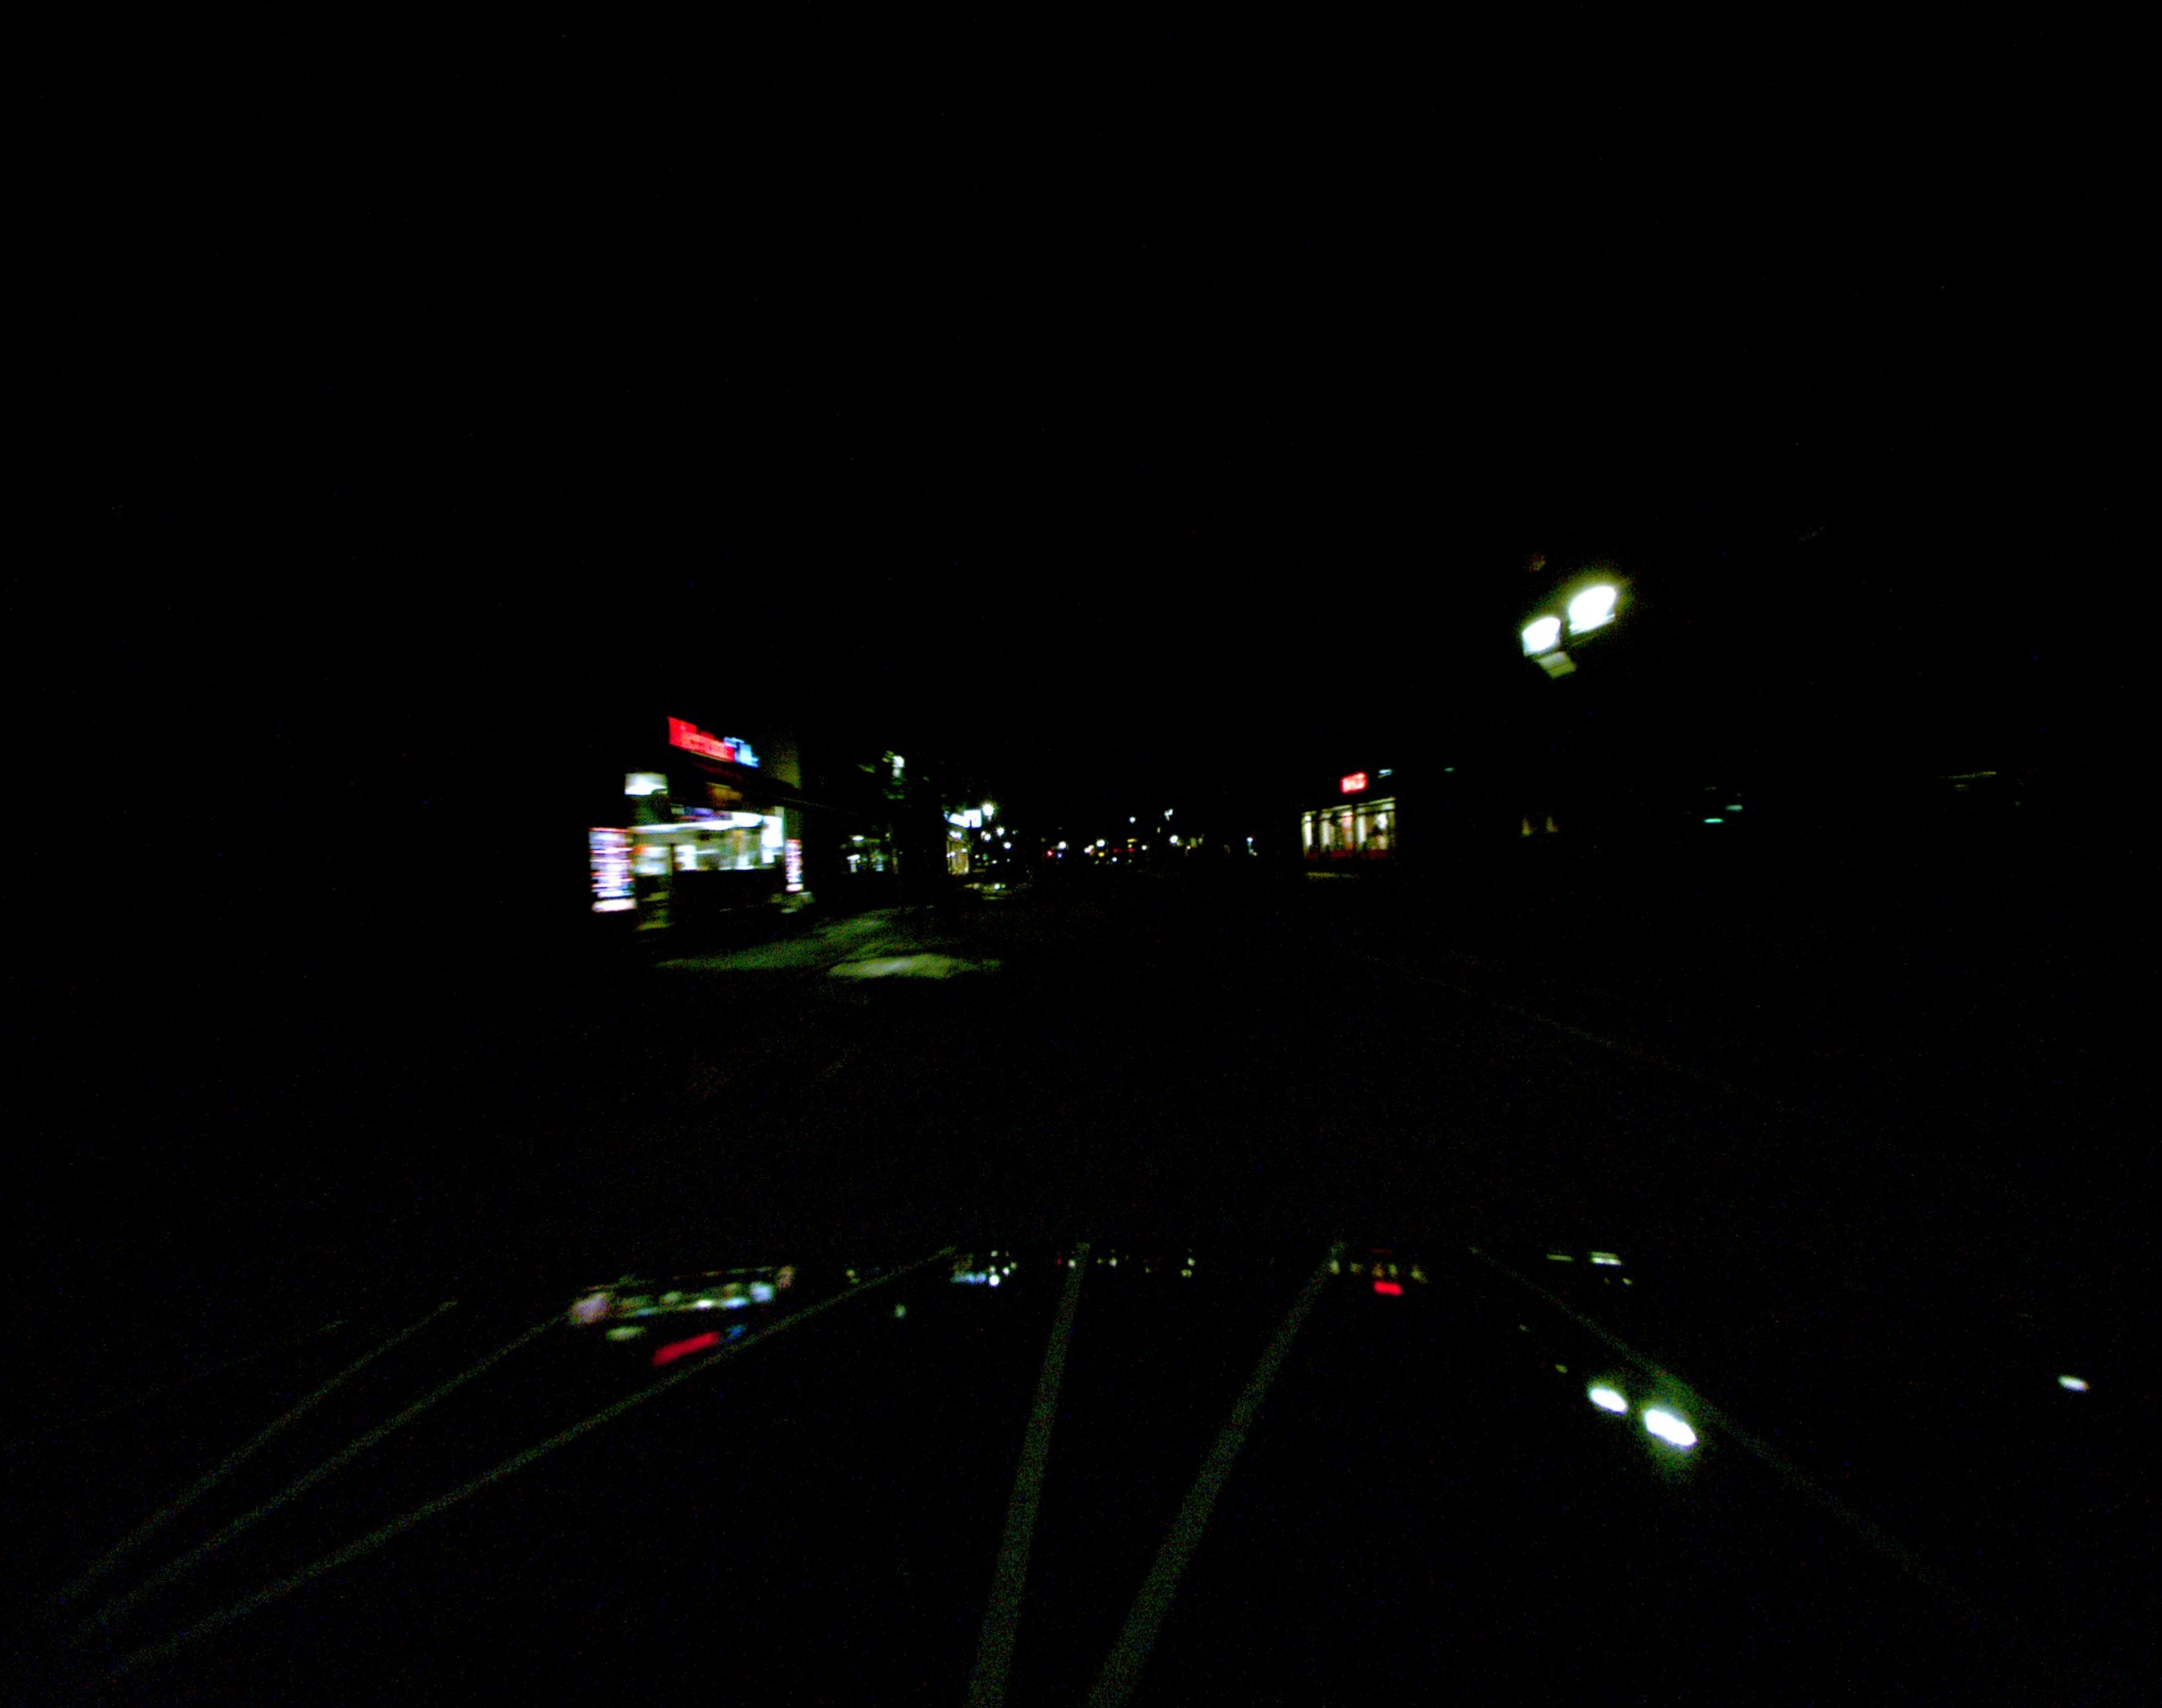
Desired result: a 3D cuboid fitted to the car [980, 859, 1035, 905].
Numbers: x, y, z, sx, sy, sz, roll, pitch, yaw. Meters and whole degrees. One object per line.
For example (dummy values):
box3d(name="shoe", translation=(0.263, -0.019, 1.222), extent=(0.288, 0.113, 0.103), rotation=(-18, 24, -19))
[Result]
box3d(name="car", translation=(-2.549, 0.933, 27.104), extent=(1.739, 1.432, 4.495), rotation=(-2, 0, -4))

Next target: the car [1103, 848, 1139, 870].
box3d(name="car", translation=(3.175, 0.385, 60.751), extent=(1.764, 1.628, 4.810), rotation=(-2, 0, -10))

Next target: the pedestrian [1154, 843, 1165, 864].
box3d(name="pedestrian", translation=(7.055, -0.054, 68.197), extent=(0.793, 1.807, 1.024), rotation=(-4, 1, 14))

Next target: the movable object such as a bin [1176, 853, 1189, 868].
box3d(name="movable object such as a bin", translation=(7.398, 0.450, 55.478), extent=(0.749, 1.059, 0.791), rotation=(-2, 2, -9))

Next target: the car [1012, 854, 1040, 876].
box3d(name="car", translation=(-4.118, 0.780, 56.463), extent=(1.747, 1.479, 4.632), rotation=(-2, 1, -7))

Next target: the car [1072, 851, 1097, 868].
box3d(name="car", translation=(0.338, 0.562, 77.348), extent=(1.776, 1.565, 4.479), rotation=(-4, 1, -8))

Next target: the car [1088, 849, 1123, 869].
box3d(name="car", translation=(2.092, 0.446, 66.562), extent=(1.911, 1.533, 4.777), rotation=(-3, 0, -12))

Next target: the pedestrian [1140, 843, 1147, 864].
box3d(name="pedestrian", translation=(5.670, -0.062, 68.717), extent=(0.502, 1.811, 0.503), rotation=(-2, 2, 11))

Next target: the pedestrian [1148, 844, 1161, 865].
box3d(name="pedestrian", translation=(6.653, 0.082, 68.804), extent=(0.879, 1.821, 0.791), rotation=(-4, 1, 17))
